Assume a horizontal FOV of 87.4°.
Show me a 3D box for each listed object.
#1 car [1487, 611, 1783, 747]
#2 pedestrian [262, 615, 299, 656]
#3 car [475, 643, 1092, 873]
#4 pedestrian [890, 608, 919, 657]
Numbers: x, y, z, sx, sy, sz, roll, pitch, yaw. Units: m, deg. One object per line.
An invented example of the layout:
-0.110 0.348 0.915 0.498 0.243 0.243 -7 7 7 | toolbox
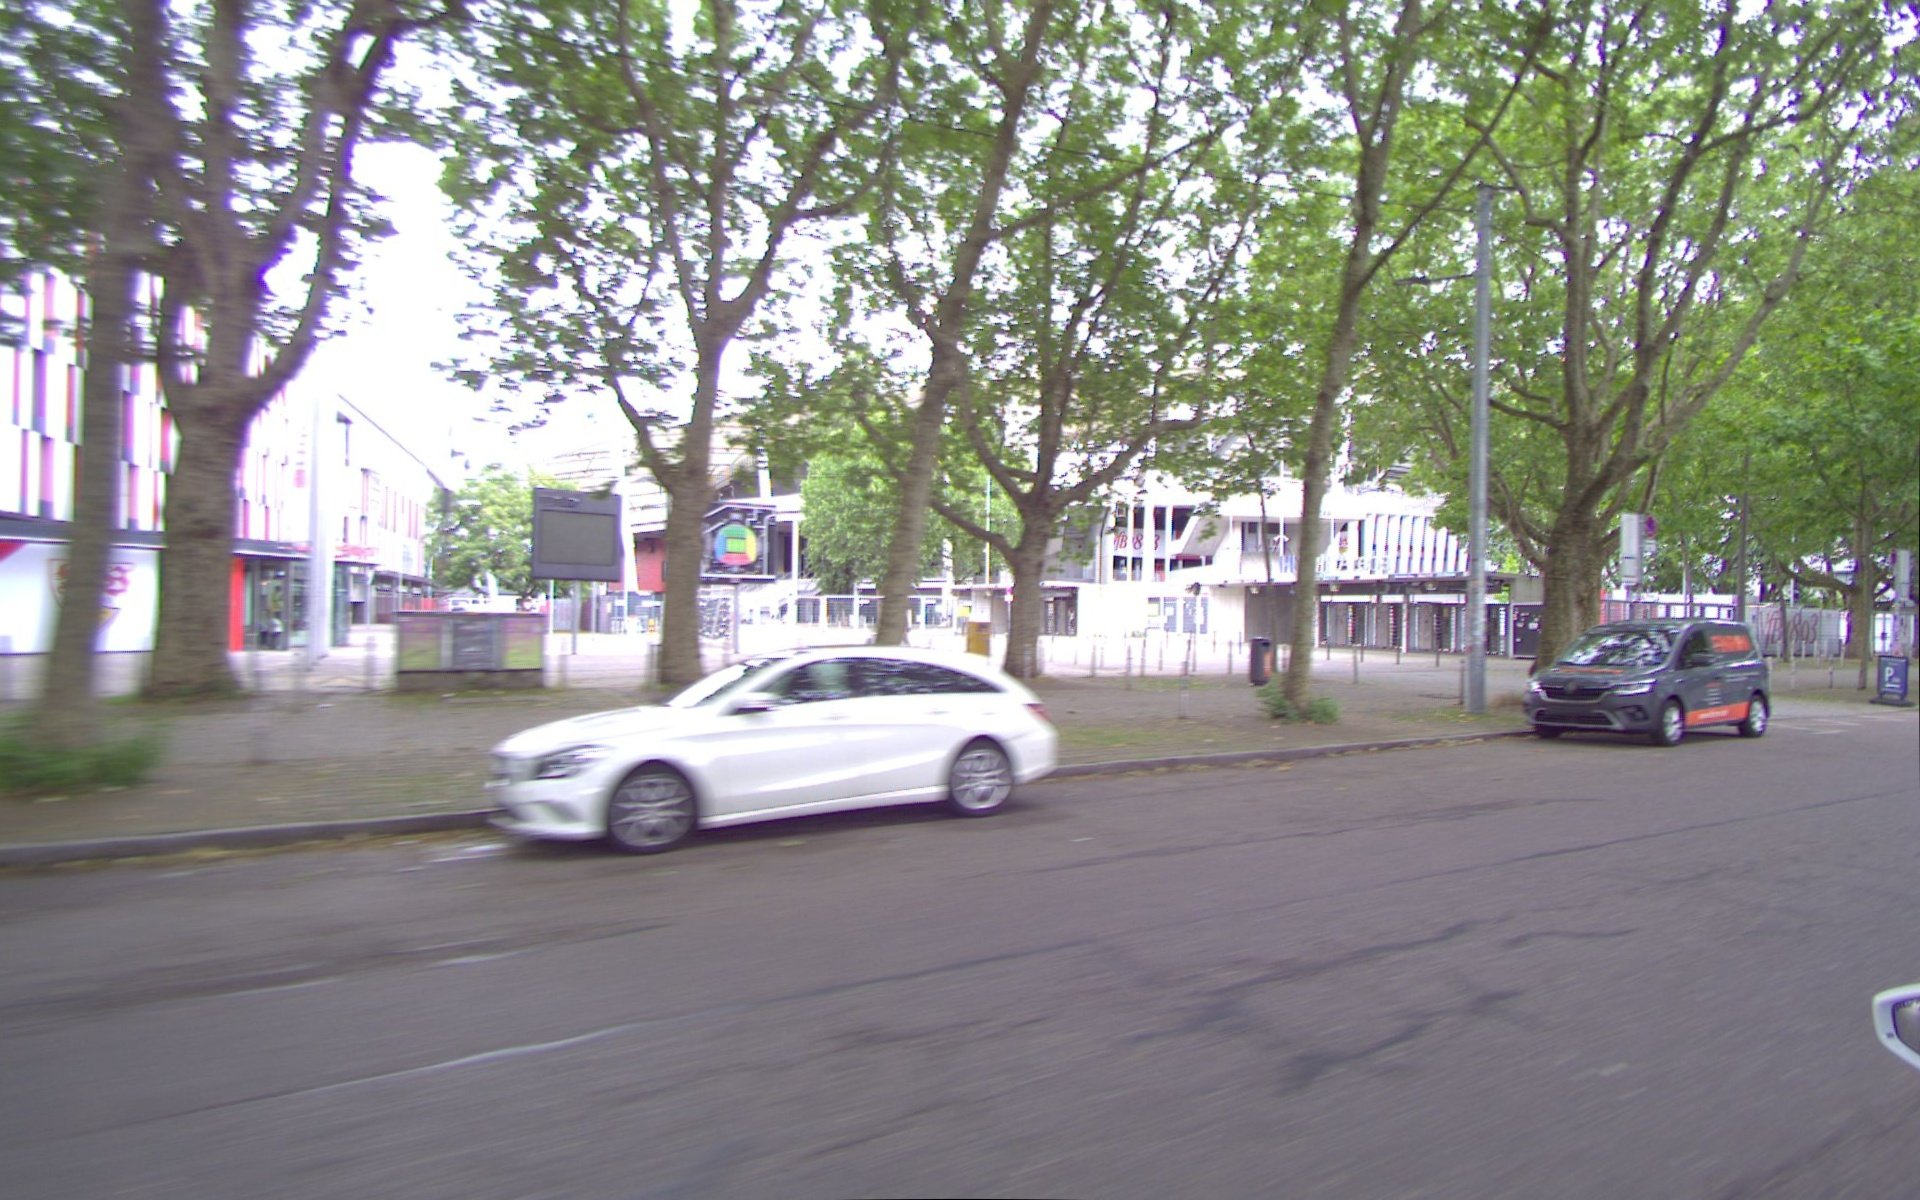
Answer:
10.200 1.107 15.103 4.585 1.773 1.939 1 -2 -31 | car
-25.143 1.297 37.183 1.099 1.481 1.038 1 -1 -33 | pedestrian
-1.355 1.098 8.339 4.695 1.421 1.895 1 -4 -30 | car
-1.967 1.138 35.771 0.798 1.714 0.722 1 -1 -26 | pedestrian
